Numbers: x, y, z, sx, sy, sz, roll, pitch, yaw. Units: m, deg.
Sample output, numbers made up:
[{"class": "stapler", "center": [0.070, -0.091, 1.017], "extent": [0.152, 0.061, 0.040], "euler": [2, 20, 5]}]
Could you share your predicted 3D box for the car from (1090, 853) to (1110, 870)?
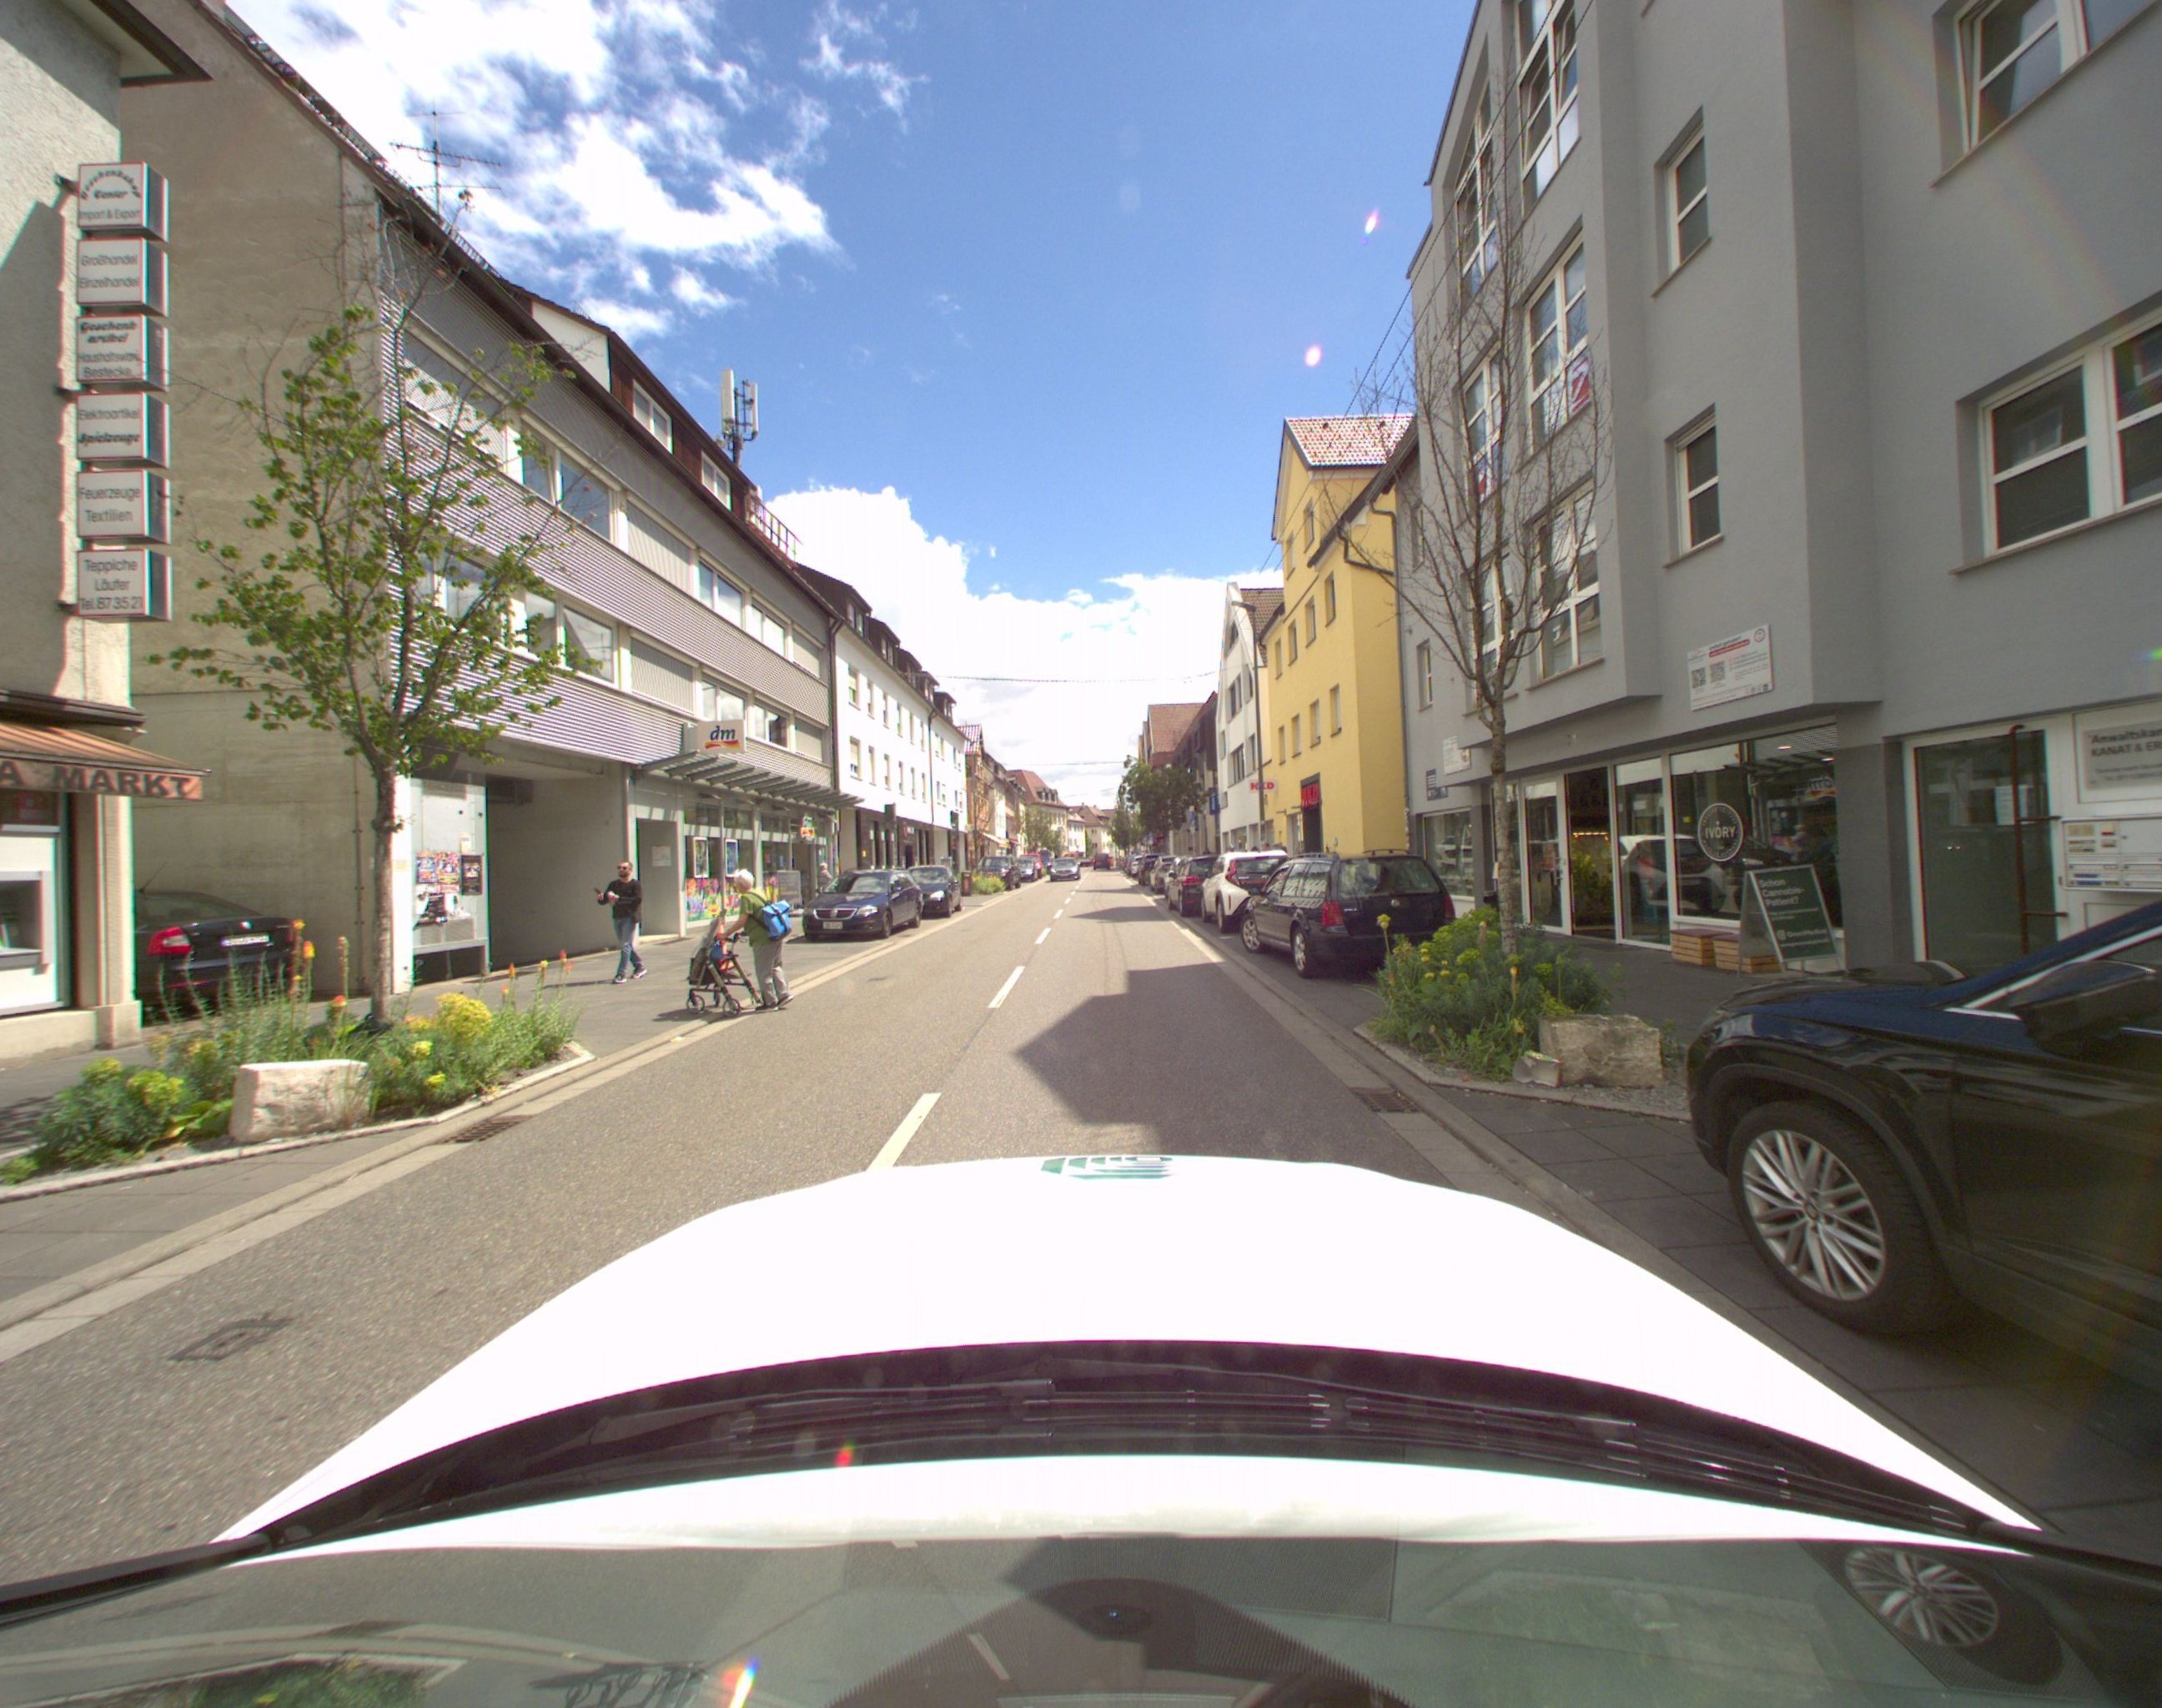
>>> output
[{"class": "car", "center": [2.085, 0.832, 91.679], "extent": [2.035, 1.848, 4.997], "euler": [0, -1, -1]}]

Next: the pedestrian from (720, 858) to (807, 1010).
[{"class": "pedestrian", "center": [-3.529, 0.862, 9.096], "extent": [0.729, 1.618, 0.650], "euler": [0, -1, -4]}]

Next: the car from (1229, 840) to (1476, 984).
[{"class": "car", "center": [3.339, 0.662, 10.981], "extent": [1.685, 1.440, 4.292], "euler": [-4, -1, -2]}]

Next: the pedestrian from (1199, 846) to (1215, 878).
[{"class": "pedestrian", "center": [6.823, 0.443, 44.010], "extent": [0.738, 1.737, 0.757], "euler": [0, -1, 2]}]

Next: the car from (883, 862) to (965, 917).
[{"class": "car", "center": [-4.617, 0.993, 24.533], "extent": [1.785, 1.503, 4.175], "euler": [0, 0, -2]}]

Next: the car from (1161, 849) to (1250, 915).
[{"class": "car", "center": [3.133, 0.644, 21.286], "extent": [1.683, 1.472, 4.524], "euler": [0, 1, 1]}]

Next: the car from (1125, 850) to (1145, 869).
[{"class": "car", "center": [4.749, 0.457, 72.100], "extent": [1.603, 1.532, 3.797], "euler": [-3, 0, 3]}]

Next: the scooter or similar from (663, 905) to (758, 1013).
[{"class": "scooter or similar", "center": [-4.106, 1.144, 9.063], "extent": [0.780, 1.126, 0.629], "euler": [0, -1, -4]}]

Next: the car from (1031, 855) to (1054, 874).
[{"class": "car", "center": [-3.528, 0.941, 75.052], "extent": [1.793, 1.598, 4.390], "euler": [-1, 0, 2]}]

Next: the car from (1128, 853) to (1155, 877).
[{"class": "car", "center": [4.103, 0.758, 55.873], "extent": [1.714, 1.577, 4.431], "euler": [0, -1, 3]}]

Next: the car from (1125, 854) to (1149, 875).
[{"class": "car", "center": [4.188, 0.817, 61.301], "extent": [1.714, 1.494, 4.111], "euler": [0, -1, 3]}]

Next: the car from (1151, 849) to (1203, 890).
[{"class": "car", "center": [3.716, 0.613, 32.101], "extent": [1.714, 1.476, 4.356], "euler": [0, -1, 3]}]

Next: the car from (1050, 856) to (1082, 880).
[{"class": "car", "center": [-0.945, 0.933, 54.201], "extent": [1.898, 1.563, 4.647], "euler": [-1, -1, 2]}]

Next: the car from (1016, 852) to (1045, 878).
[{"class": "car", "center": [-3.835, 0.845, 62.564], "extent": [1.809, 1.889, 4.843], "euler": [0, -1, 2]}]

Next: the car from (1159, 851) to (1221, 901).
[{"class": "car", "center": [3.529, 0.706, 27.040], "extent": [1.624, 1.476, 4.960], "euler": [0, -1, 3]}]

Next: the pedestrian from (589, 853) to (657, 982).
[{"class": "pedestrian", "center": [-6.470, 0.875, 11.524], "extent": [0.546, 1.757, 0.728], "euler": [0, -1, -2]}]

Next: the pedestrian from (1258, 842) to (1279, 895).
[{"class": "pedestrian", "center": [6.589, 0.523, 28.602], "extent": [0.585, 1.841, 0.576], "euler": [0, -1, 2]}]

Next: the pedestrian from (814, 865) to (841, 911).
[{"class": "pedestrian", "center": [-8.135, 1.072, 26.157], "extent": [0.652, 1.455, 0.563], "euler": [0, -1, 1]}]

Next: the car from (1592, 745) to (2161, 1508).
[{"class": "car", "center": [3.126, 0.523, 1.392], "extent": [1.794, 1.603, 4.203], "euler": [-4, 0, 0]}]

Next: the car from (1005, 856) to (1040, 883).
[{"class": "car", "center": [-3.876, 1.037, 54.688], "extent": [1.809, 1.755, 4.467], "euler": [0, -1, 3]}]

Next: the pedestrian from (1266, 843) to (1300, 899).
[{"class": "pedestrian", "center": [5.854, 0.488, 23.643], "extent": [0.747, 1.553, 0.726], "euler": [-2, -1, 0]}]

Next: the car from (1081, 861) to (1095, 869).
[{"class": "car", "center": [1.223, 1.939, 143.550], "extent": [1.613, 1.486, 3.818], "euler": [-1, -1, 13]}]

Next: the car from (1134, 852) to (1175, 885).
[{"class": "car", "center": [3.671, 0.724, 41.204], "extent": [1.716, 1.577, 4.108], "euler": [0, -1, 0]}]

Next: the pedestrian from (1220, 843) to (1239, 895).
[{"class": "pedestrian", "center": [5.248, 0.531, 28.808], "extent": [0.585, 1.841, 0.576], "euler": [0, -1, 2]}]

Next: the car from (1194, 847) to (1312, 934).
[{"class": "car", "center": [3.383, 0.691, 16.689], "extent": [1.683, 1.574, 3.756], "euler": [0, -1, 1]}]

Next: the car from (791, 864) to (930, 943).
[{"class": "car", "center": [-4.874, 1.027, 18.719], "extent": [1.784, 1.513, 4.713], "euler": [-1, 0, 1]}]

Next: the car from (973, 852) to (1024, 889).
[{"class": "car", "center": [-4.113, 0.818, 41.479], "extent": [1.808, 1.755, 4.673], "euler": [0, -1, 4]}]

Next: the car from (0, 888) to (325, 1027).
[{"class": "car", "center": [-11.416, 1.130, 9.388], "extent": [3.808, 1.410, 1.656], "euler": [0, -1, 0]}]

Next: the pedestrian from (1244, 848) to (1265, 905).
[{"class": "pedestrian", "center": [5.729, 0.742, 26.917], "extent": [0.585, 1.841, 0.576], "euler": [0, -1, 2]}]

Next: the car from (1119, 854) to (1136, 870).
[{"class": "car", "center": [4.824, 0.816, 84.411], "extent": [1.603, 1.495, 3.797], "euler": [-5, 0, 3]}]
